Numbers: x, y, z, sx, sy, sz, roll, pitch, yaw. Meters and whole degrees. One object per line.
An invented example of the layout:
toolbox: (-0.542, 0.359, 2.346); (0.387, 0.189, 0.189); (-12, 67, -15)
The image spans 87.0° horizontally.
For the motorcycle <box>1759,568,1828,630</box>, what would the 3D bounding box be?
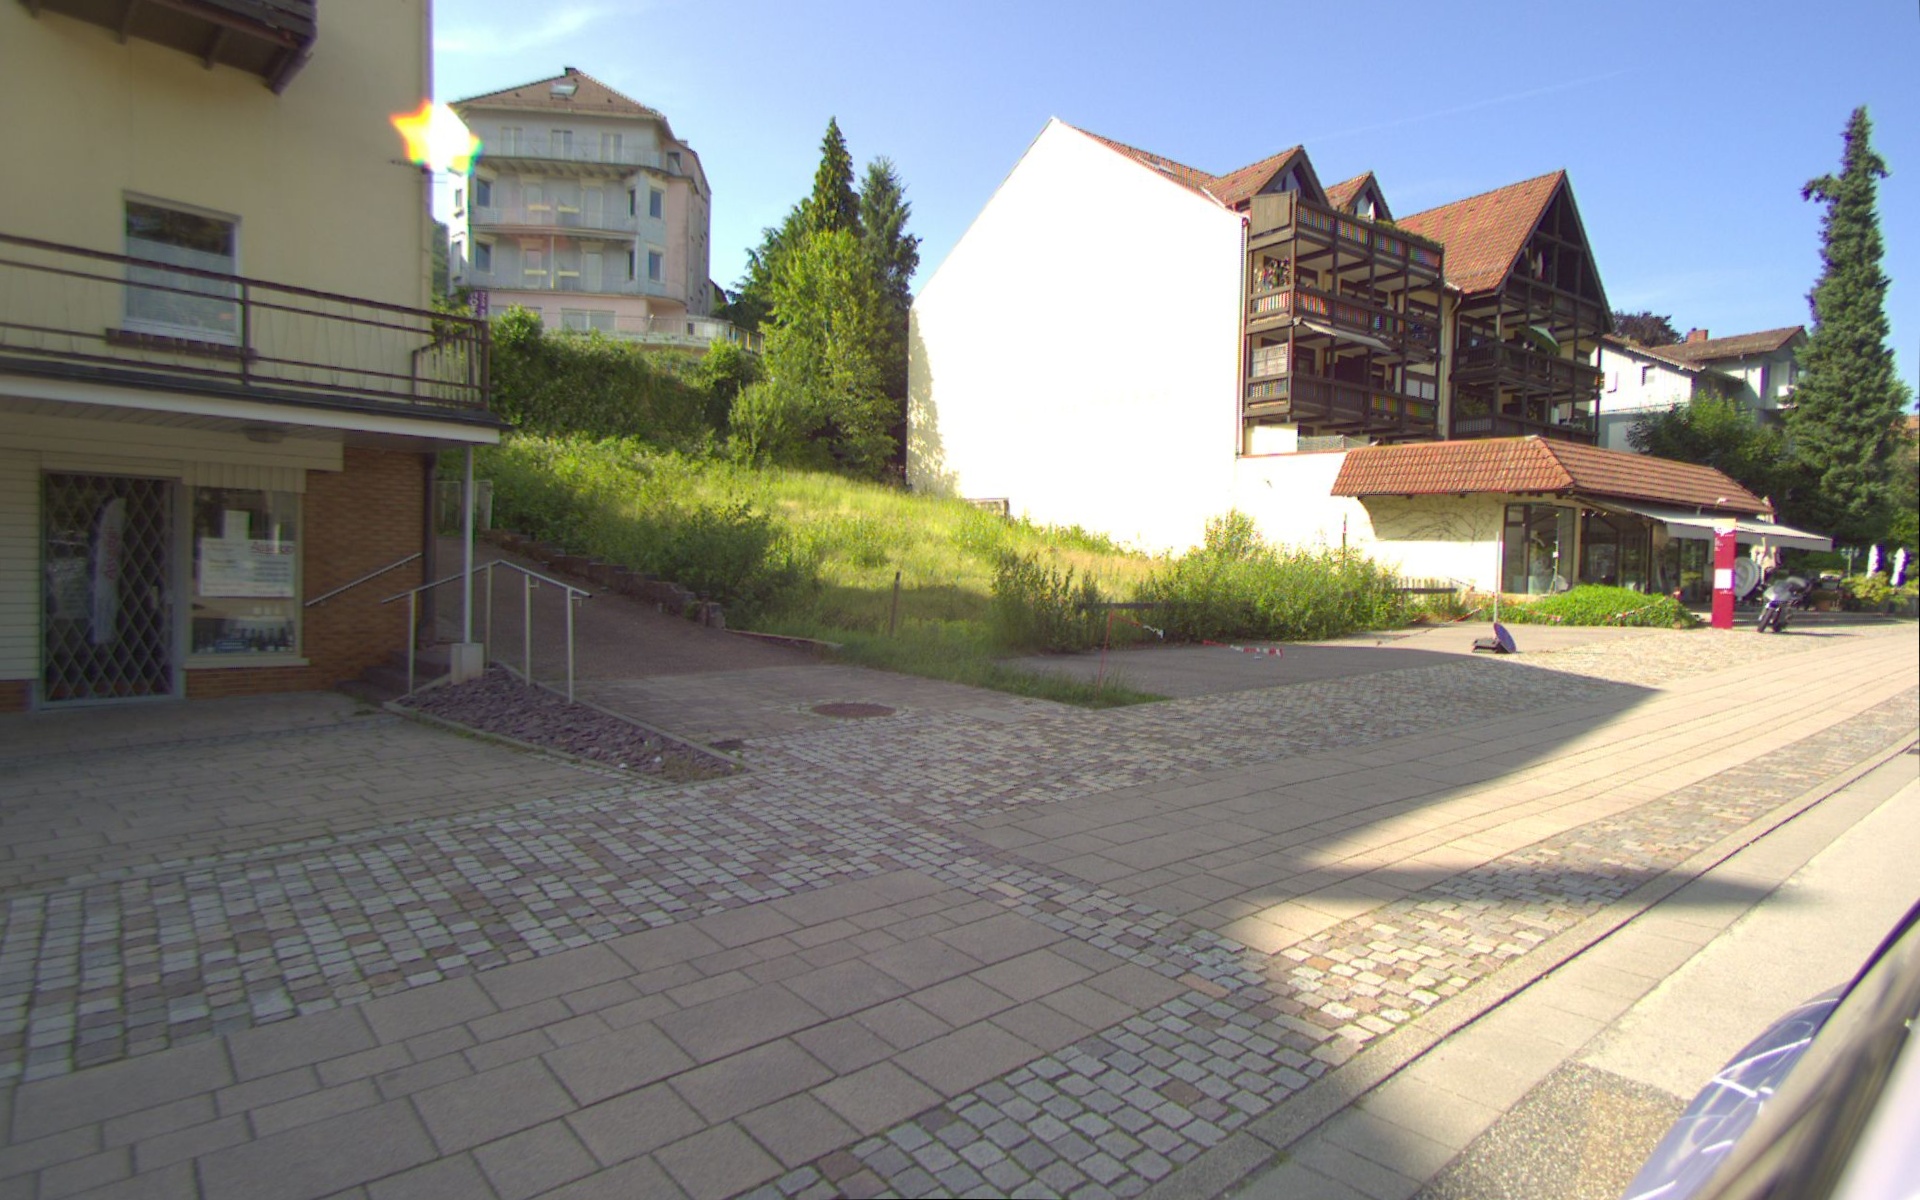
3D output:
motorcycle: (19.178, -0.041, 23.261); (2.172, 1.311, 0.699); (-1, 5, -39)

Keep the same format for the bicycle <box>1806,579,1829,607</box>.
bicycle: (29.099, -0.236, 34.350); (0.395, 0.852, 1.597); (2, 4, 34)
